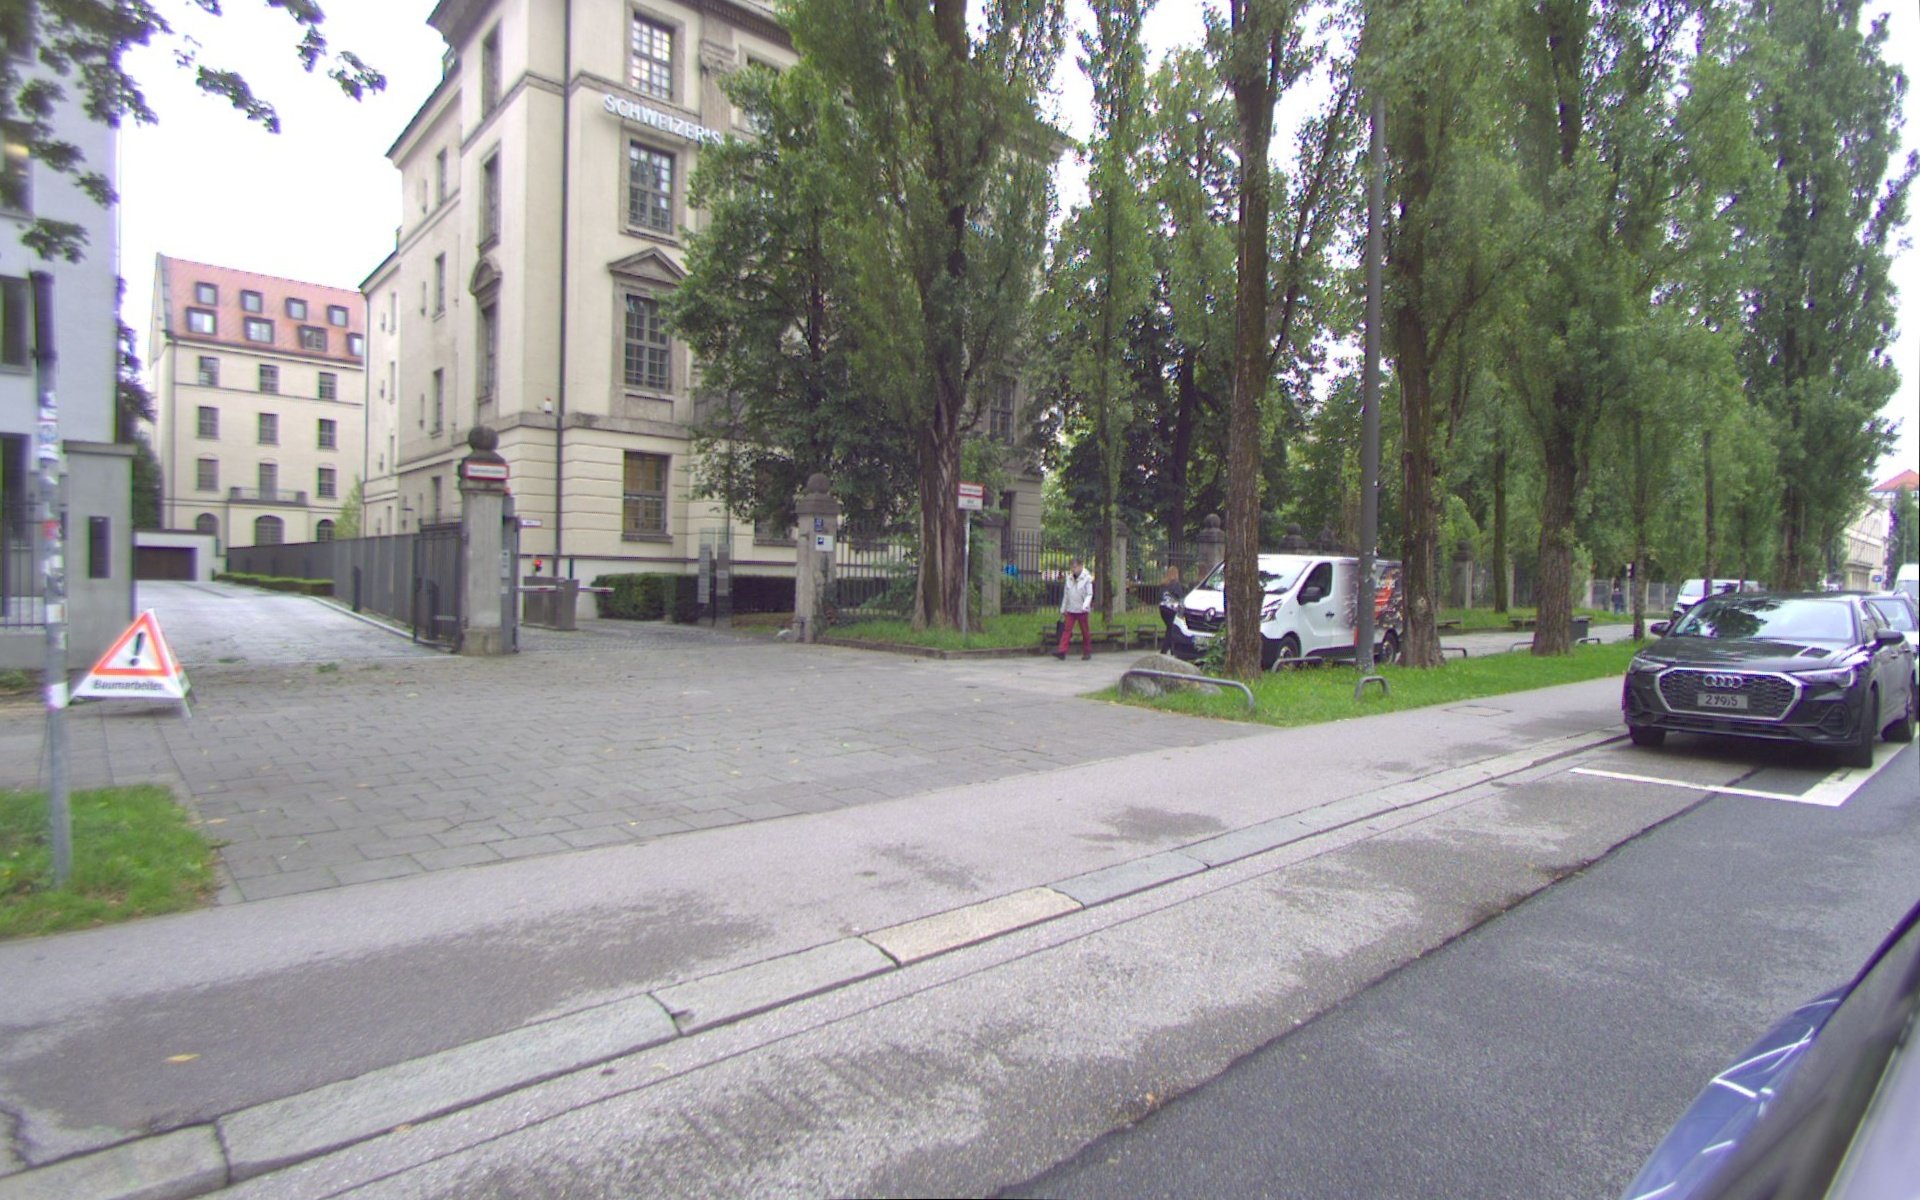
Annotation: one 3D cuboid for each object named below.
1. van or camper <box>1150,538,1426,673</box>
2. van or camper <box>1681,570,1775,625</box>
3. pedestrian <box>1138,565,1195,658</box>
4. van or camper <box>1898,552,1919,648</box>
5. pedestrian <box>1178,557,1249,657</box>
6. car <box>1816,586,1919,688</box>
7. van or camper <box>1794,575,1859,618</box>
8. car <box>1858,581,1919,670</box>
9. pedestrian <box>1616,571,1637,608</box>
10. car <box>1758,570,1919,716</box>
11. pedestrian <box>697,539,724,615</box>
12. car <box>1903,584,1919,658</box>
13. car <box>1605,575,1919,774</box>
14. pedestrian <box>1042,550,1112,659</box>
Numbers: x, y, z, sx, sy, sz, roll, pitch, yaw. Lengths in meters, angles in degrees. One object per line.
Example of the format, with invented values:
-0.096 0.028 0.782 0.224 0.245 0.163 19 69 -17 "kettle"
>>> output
5.717 0.074 17.234 5.275 1.958 2.080 0 0 -41 "van or camper"
29.030 -0.102 38.188 4.952 1.958 1.978 0 0 -42 "van or camper"
3.679 0.188 18.035 0.852 1.598 0.568 0 2 -42 "pedestrian"
28.350 0.006 28.555 6.306 2.572 2.142 0 1 -42 "van or camper"
4.581 0.104 18.307 0.852 1.738 0.855 0 2 -42 "pedestrian"
16.081 0.576 17.243 4.221 1.539 1.705 0 1 -42 "car"
43.489 -0.191 50.751 4.902 2.039 2.005 0 0 -43 "van or camper"
19.684 0.491 20.433 4.558 1.638 1.787 0 1 -42 "car"
37.459 -0.611 56.921 0.898 2.038 0.946 2 1 33 "pedestrian"
12.563 0.497 13.903 4.501 1.696 1.746 0 1 -42 "car"
-6.819 -0.631 27.610 0.536 2.038 0.456 0 1 -41 "pedestrian"
23.580 0.493 23.806 4.344 1.669 1.786 0 1 -44 "car"
8.310 0.577 10.204 4.386 1.560 1.884 0 1 -41 "car"
2.009 0.059 17.408 0.852 1.791 0.723 0 4 -41 "pedestrian"
